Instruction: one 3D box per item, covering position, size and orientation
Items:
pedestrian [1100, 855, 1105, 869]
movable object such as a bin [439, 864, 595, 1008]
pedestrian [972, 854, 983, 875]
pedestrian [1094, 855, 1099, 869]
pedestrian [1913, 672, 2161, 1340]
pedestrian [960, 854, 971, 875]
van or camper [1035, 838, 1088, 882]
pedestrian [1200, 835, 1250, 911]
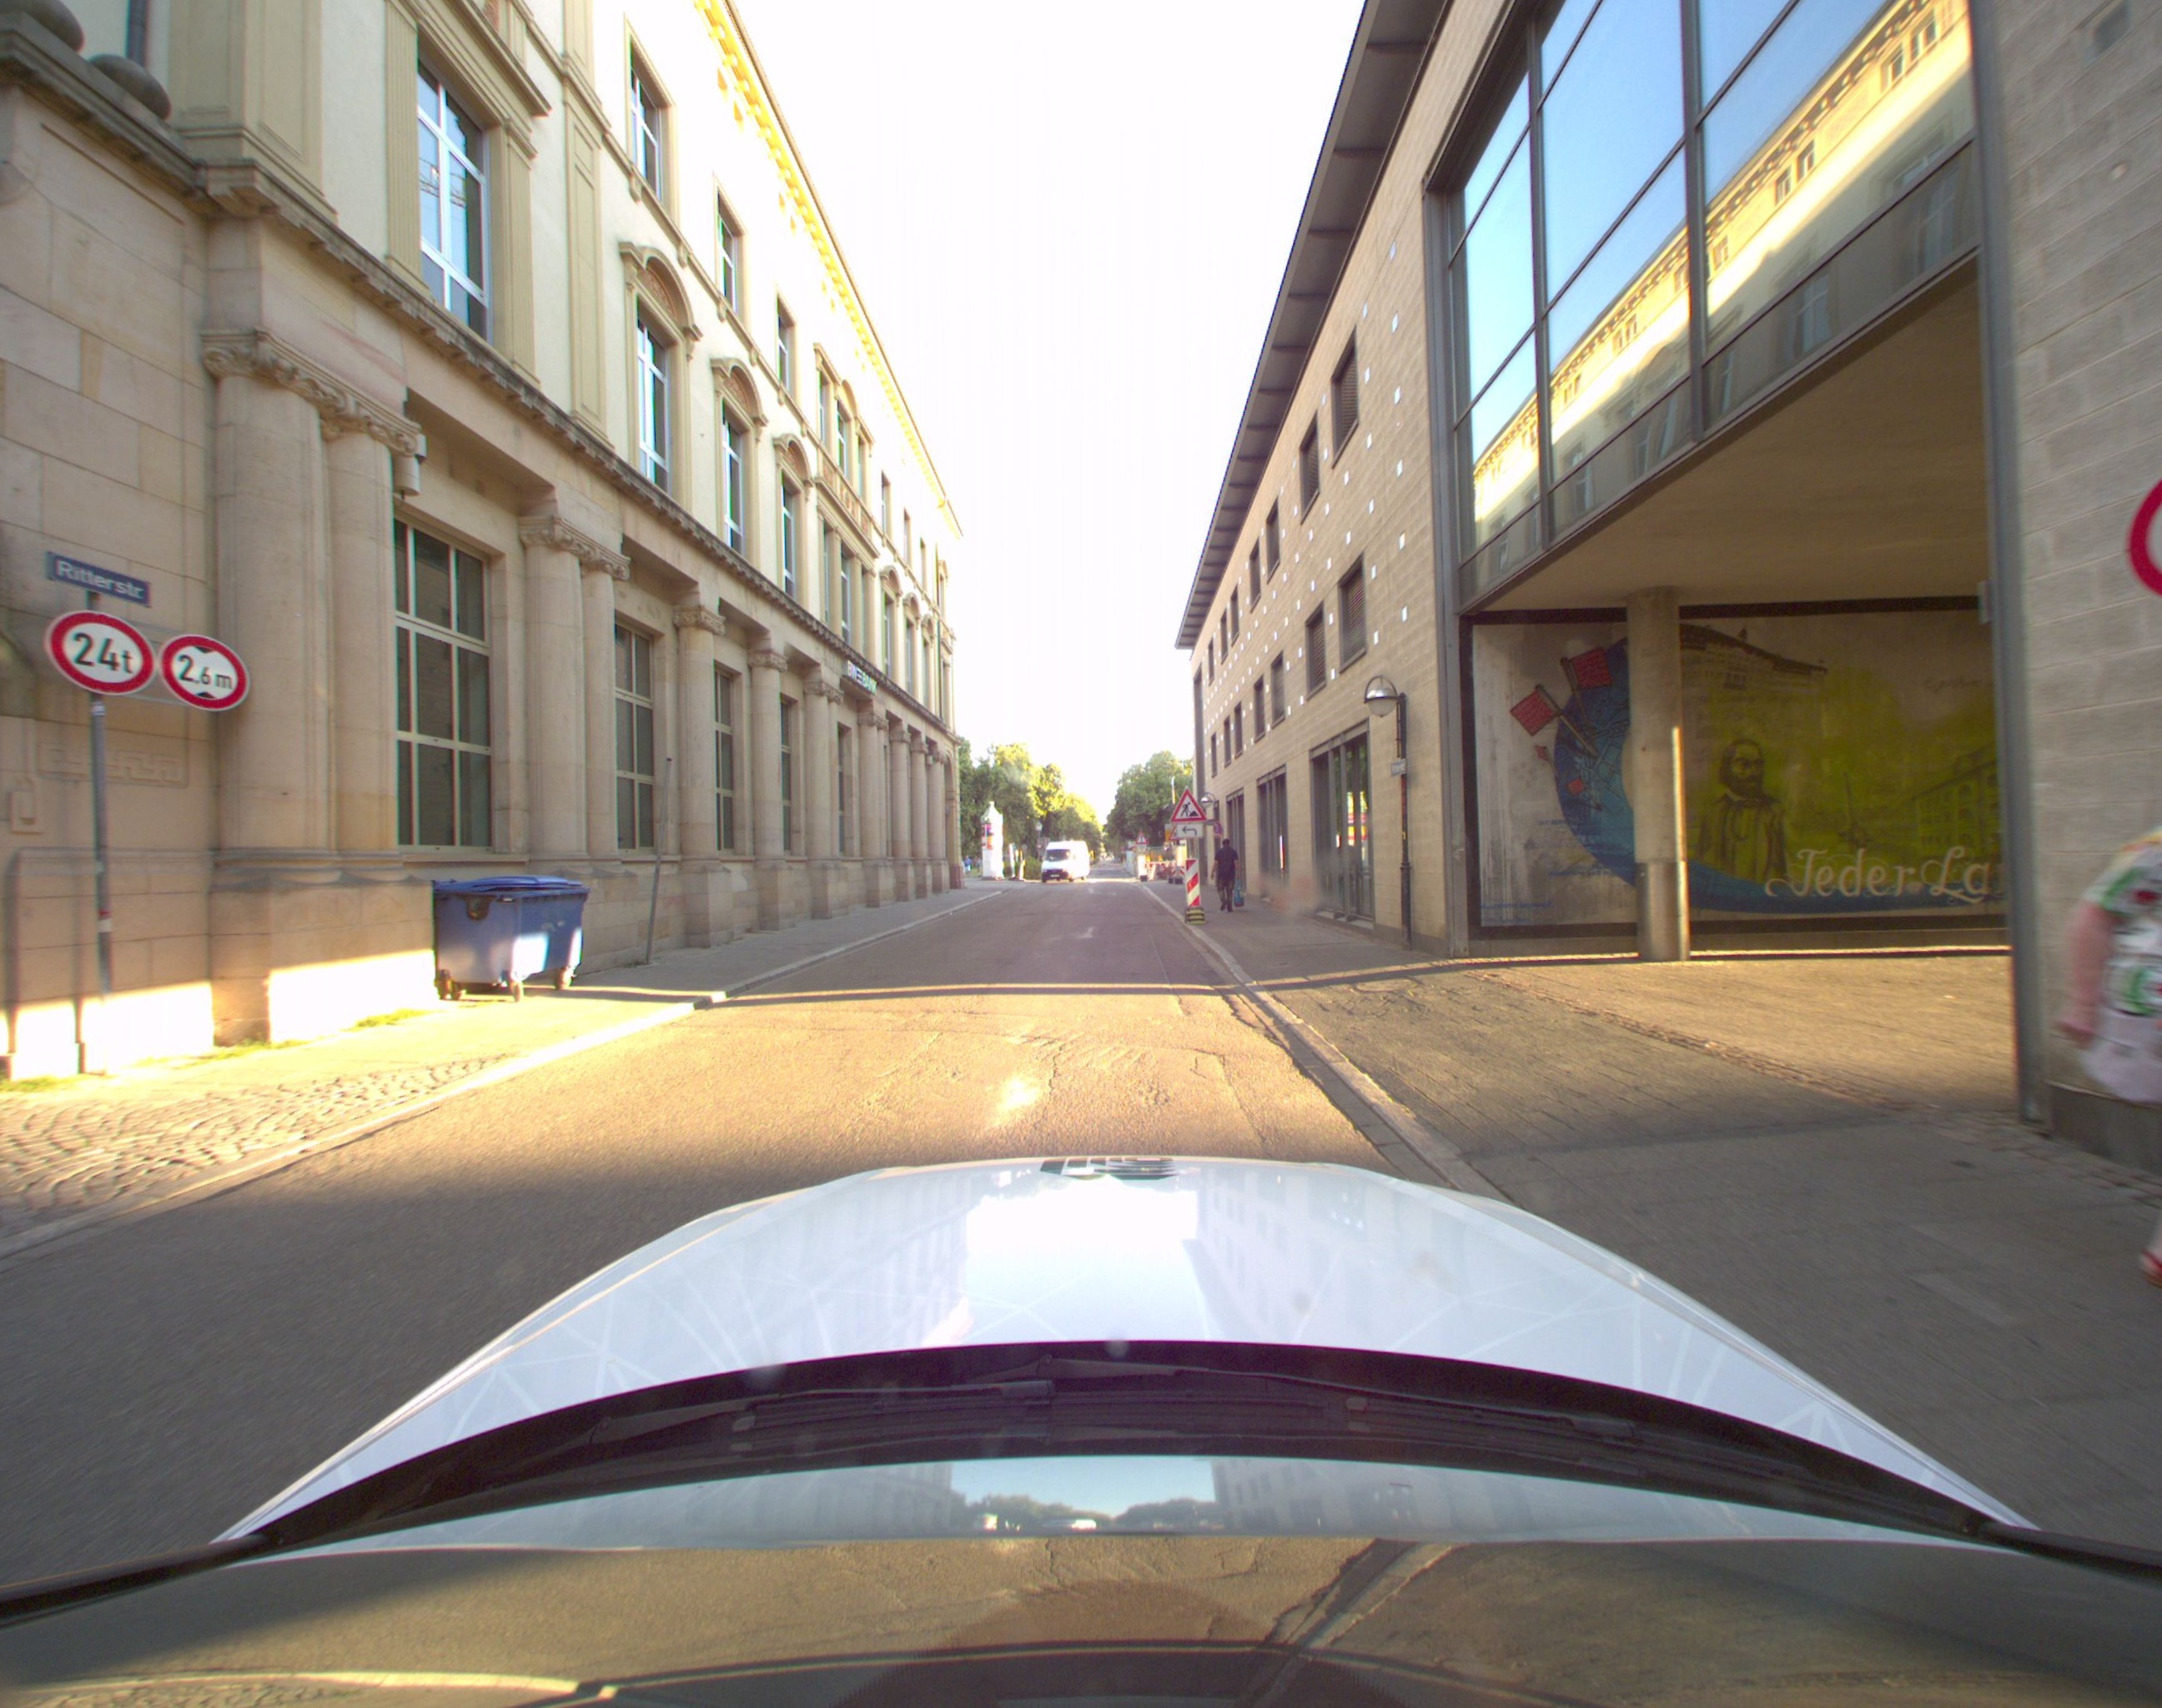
[{"bbox_3d":[3.056,1.100,116.381,0.580,2.014,0.680,-1,-1,-7],"label":"pedestrian"},{"bbox_3d":[-6.429,0.887,9.366,0.825,1.503,1.292,-1,0,2],"label":"movable object such as a bin"},{"bbox_3d":[-8.705,0.890,68.565,0.850,1.807,0.661,-1,-1,-12],"label":"pedestrian"},{"bbox_3d":[2.192,1.143,117.135,0.609,2.014,0.902,-1,0,-6],"label":"pedestrian"},{"bbox_3d":[3.318,0.397,2.324,0.841,1.803,0.899,-4,-1,6],"label":"pedestrian"},{"bbox_3d":[-9.682,0.874,68.319,0.850,1.807,0.661,-1,-1,-12],"label":"pedestrian"},{"bbox_3d":[-1.125,0.344,51.230,2.206,2.585,6.388,-2,0,9],"label":"van or camper"},{"bbox_3d":[3.547,0.470,20.120,0.997,1.803,0.882,-3,-1,1],"label":"pedestrian"}]
